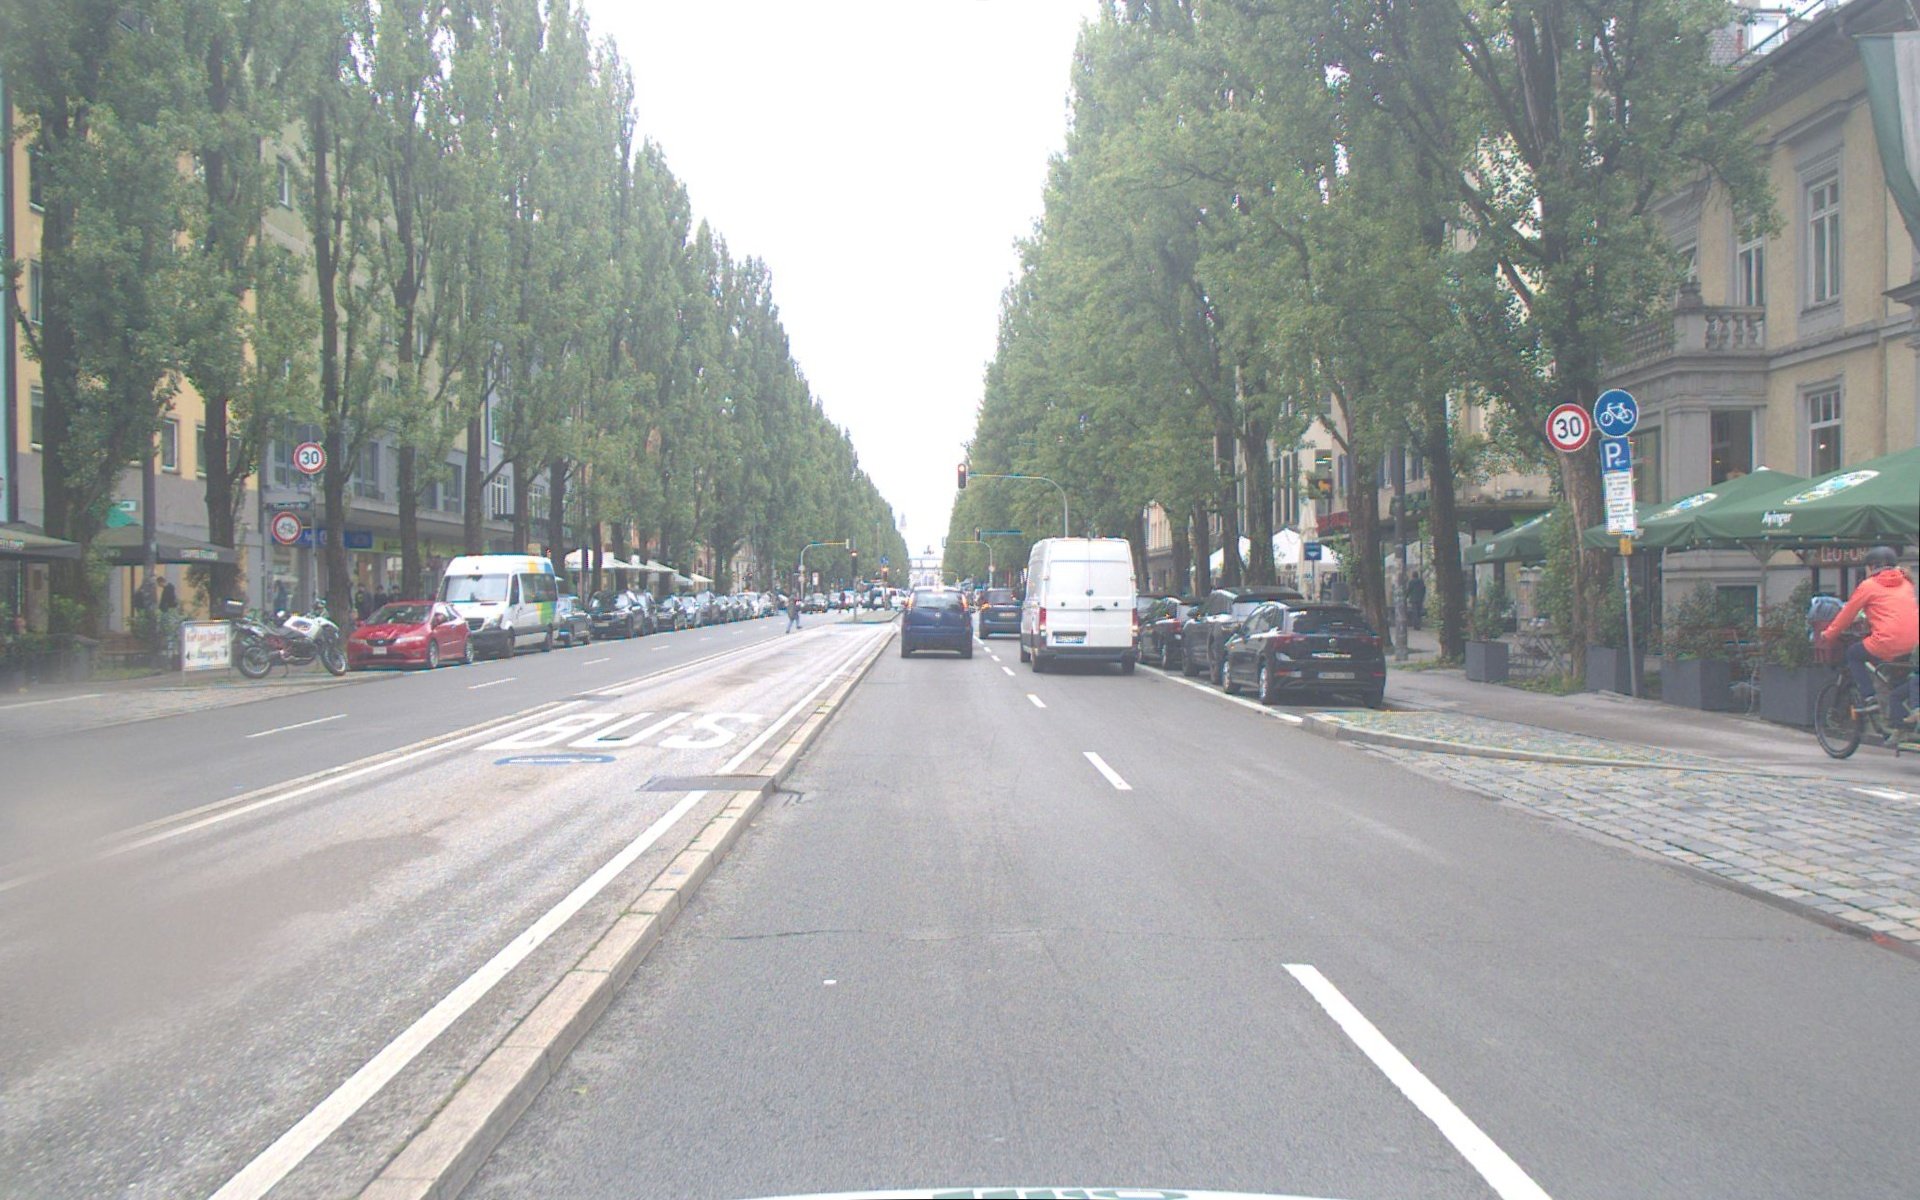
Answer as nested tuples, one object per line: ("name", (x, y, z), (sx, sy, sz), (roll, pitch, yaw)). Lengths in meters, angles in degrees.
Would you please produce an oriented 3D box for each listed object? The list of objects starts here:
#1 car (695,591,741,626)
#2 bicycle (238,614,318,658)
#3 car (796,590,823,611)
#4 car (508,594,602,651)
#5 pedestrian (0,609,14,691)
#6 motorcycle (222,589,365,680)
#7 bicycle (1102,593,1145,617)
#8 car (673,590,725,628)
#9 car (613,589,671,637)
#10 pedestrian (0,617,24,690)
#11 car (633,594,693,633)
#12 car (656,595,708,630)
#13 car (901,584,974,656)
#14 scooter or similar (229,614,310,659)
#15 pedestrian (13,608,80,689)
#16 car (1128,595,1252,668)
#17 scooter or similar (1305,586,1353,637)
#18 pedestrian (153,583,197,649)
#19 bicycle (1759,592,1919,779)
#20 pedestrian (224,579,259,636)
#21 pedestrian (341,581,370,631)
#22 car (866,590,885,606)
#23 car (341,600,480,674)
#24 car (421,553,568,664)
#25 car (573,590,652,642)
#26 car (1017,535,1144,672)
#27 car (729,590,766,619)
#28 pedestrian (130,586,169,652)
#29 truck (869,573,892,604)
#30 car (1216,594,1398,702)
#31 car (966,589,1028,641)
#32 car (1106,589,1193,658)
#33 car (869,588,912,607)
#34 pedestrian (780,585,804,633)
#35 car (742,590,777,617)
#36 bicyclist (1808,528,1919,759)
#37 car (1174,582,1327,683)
("car", (-12.735, 0.427, 87.166), (1.828, 1.694, 4.119), (-2, 0, -1))
("bicycle", (-16.682, 0.873, 40.477), (1.738, 1.044, 0.421), (-1, 0, -4))
("car", (-11.457, 0.034, 125.905), (1.663, 1.488, 4.711), (-2, 0, -1))
("car", (-12.305, 0.640, 50.494), (1.828, 1.579, 4.413), (-2, 0, -1))
("pedestrian", (-16.703, 0.861, 28.240), (0.699, 1.386, 0.699), (-1, 0, -3))
("motorcycle", (-12.084, 0.605, 30.034), (2.330, 1.591, 0.703), (0, 0, -44))
("bicycle", (8.687, 0.266, 87.663), (2.182, 1.225, 0.626), (-1, 0, -3))
("car", (-12.683, 0.420, 80.630), (1.828, 1.694, 4.399), (-2, 0, -1))
("car", (-12.294, 0.467, 64.192), (1.676, 1.751, 3.919), (-2, 0, -4))
("pedestrian", (-16.214, 0.894, 27.582), (0.799, 1.203, 0.699), (-1, 0, -3))
("car", (-12.504, 0.535, 69.881), (1.762, 1.514, 4.349), (-2, 0, -1))
("car", (-12.578, 0.539, 75.045), (1.698, 1.450, 4.142), (-2, 0, -1))
("car", (-0.536, 0.437, 39.133), (1.637, 1.596, 3.999), (0, 0, -1))
("scooter or similar", (-16.614, 0.873, 39.798), (1.738, 1.044, 0.421), (-1, 0, -4))
("pedestrian", (-15.990, 0.837, 28.966), (0.683, 1.386, 0.848), (-1, 0, -2))
("car", (4.790, 0.624, 34.995), (1.676, 1.418, 4.339), (0, 0, -5))
("scooter or similar", (10.755, 0.311, 48.311), (0.624, 1.400, 2.493), (-2, 1, -5))
("pedestrian", (-20.197, 0.408, 42.557), (0.683, 1.664, 0.727), (-1, 0, 23))
("bicycle", (7.447, 0.626, 13.337), (0.757, 1.372, 2.448), (-1, 0, -2))
("pedestrian", (-21.301, 0.212, 49.015), (0.683, 1.664, 0.727), (-1, 0, 1))
("pedestrian", (-21.077, 0.198, 57.642), (0.683, 1.729, 0.727), (-1, 0, 3))
("car", (-8.025, -0.186, 157.581), (1.700, 1.491, 3.364), (-1, 0, -1))
("car", (-12.019, 0.758, 36.446), (1.702, 1.444, 4.147), (-2, 0, -1))
("car", (-12.079, 0.173, 43.458), (1.965, 2.612, 6.910), (-2, 0, -1))
("car", (-12.260, 0.521, 58.598), (1.828, 1.693, 4.610), (-2, 0, -1))
("car", (2.354, 0.036, 34.003), (2.021, 2.536, 6.729), (0, 0, -1))
("car", (-13.173, 0.275, 102.771), (1.828, 1.694, 4.119), (-2, 0, -1))
("pedestrian", (-20.608, 0.480, 42.074), (0.683, 1.664, 0.564), (-1, 0, 23))
("truck", (-8.968, -1.308, 186.530), (2.334, 3.405, 7.109), (-1, 0, -1))
("car", (5.001, 0.644, 24.334), (1.660, 1.441, 3.949), (0, 0, -3))
("car", (1.185, 0.456, 54.345), (1.858, 1.650, 3.999), (0, 0, -1))
("car", (4.396, 0.527, 38.692), (1.560, 1.544, 2.728), (1, 0, -3))
("car", (-5.896, -0.223, 140.367), (3.311, 1.588, 1.727), (-1, 0, -25))
("pedestrian", (-6.080, 0.309, 59.947), (0.843, 1.714, 0.626), (0, 0, -4))
("car", (-13.321, 0.213, 110.044), (1.828, 1.694, 4.119), (-2, 0, -1))
("bicyclist", (7.446, 0.333, 13.316), (0.752, 1.797, 0.885), (-1, 0, -2))
("car", (5.095, 0.531, 29.585), (1.767, 1.666, 4.445), (1, 0, -3))
